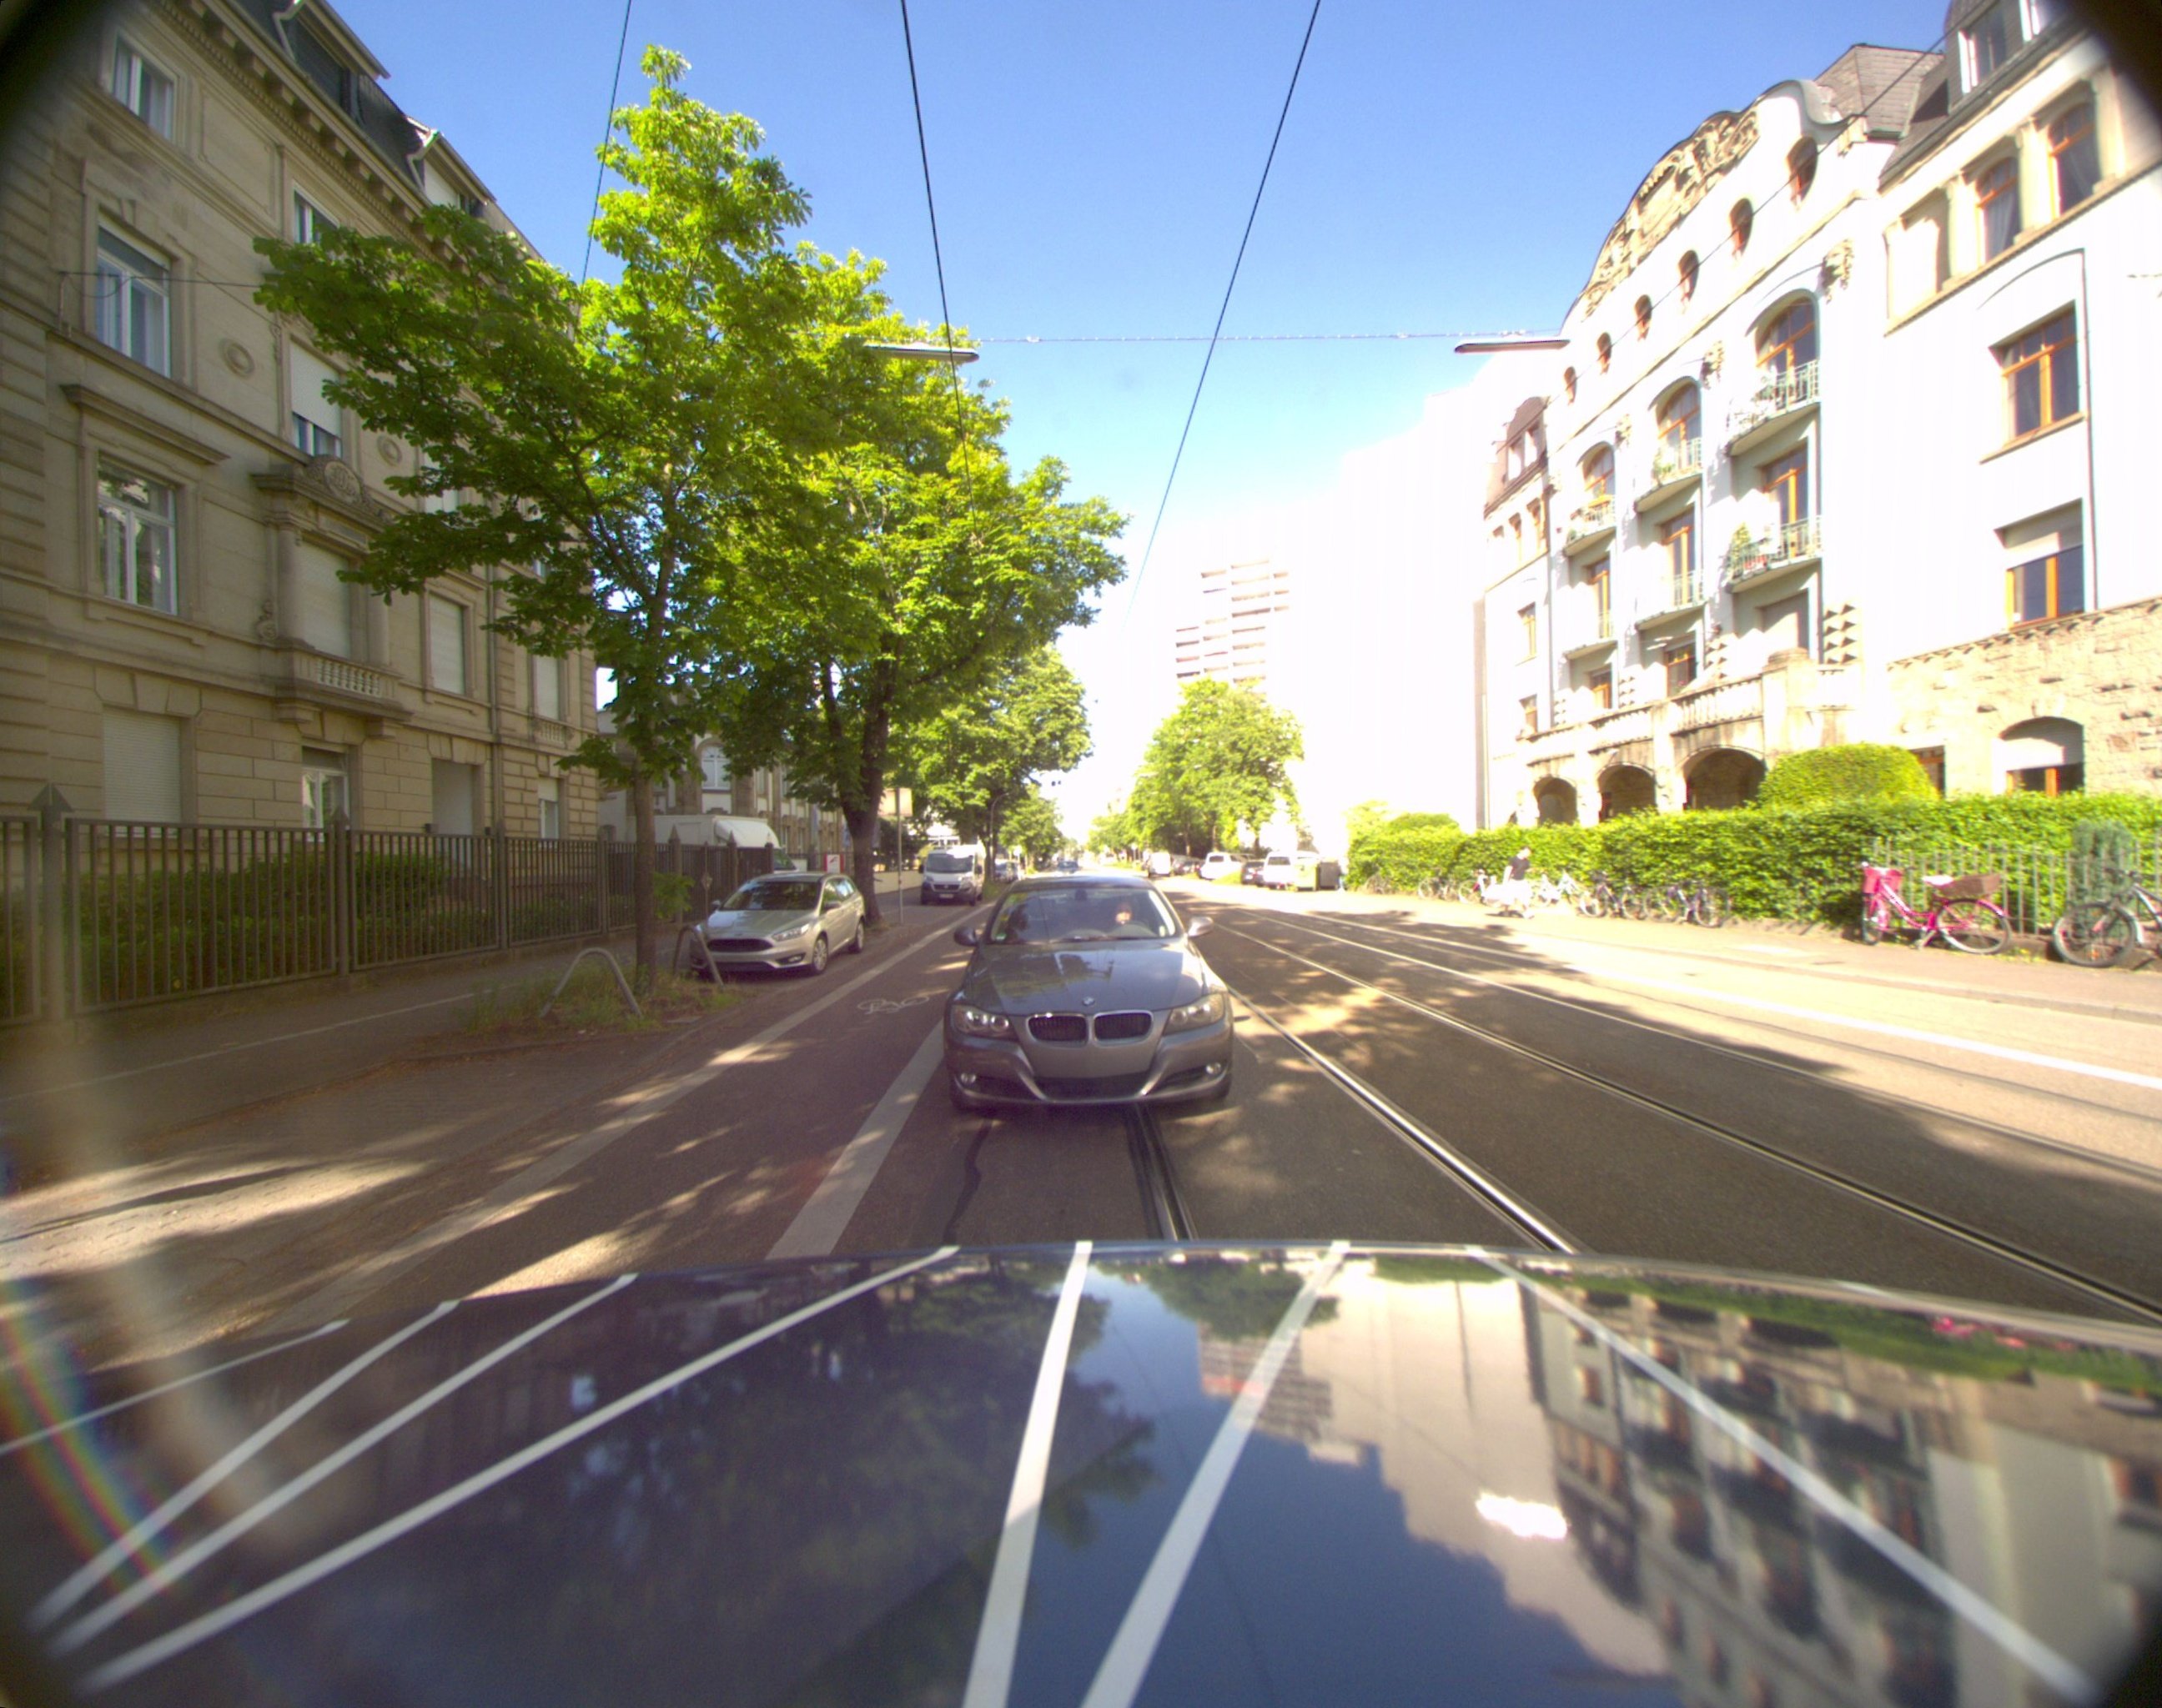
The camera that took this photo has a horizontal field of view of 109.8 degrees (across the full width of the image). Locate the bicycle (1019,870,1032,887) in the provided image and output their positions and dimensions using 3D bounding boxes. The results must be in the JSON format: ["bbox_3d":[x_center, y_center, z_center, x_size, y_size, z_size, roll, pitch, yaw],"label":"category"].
[{"bbox_3d":[-3.360,1.474,46.181,0.535,0.917,2.057,-2,1,1],"label":"bicycle"}]

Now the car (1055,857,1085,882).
[{"bbox_3d":[-0.707,1.016,51.547,1.828,1.559,3.999,-2,1,1],"label":"car"}]

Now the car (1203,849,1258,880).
[{"bbox_3d":[9.897,0.683,50.119,3.450,1.860,1.918,-3,1,-44],"label":"car"}]

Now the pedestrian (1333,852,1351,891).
[{"bbox_3d":[11.008,0.718,32.086,0.475,1.619,0.659,-2,1,1],"label":"pedestrian"}]

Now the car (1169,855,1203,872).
[{"bbox_3d":[9.667,0.853,69.902,2.757,1.417,1.226,-2,1,-16],"label":"car"}]

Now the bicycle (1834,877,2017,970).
[{"bbox_3d":[11.009,0.860,10.002,0.405,1.018,1.816,-2,1,1],"label":"bicycle"}]

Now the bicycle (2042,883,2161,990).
[{"bbox_3d":[11.135,0.857,7.740,0.405,1.018,1.816,-2,1,1],"label":"bicycle"}]

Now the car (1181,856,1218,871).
[{"bbox_3d":[9.763,0.804,62.700,2.757,1.083,1.226,-2,1,-16],"label":"car"}]

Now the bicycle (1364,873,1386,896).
[{"bbox_3d":[10.629,1.100,27.459,0.297,0.757,1.263,-2,1,1],"label":"bicycle"}]

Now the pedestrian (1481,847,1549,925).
[{"bbox_3d":[9.694,0.689,16.997,0.869,1.619,0.870,-6,1,1],"label":"pedestrian"}]

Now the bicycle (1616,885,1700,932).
[{"bbox_3d":[10.914,1.006,14.430,0.405,0.757,1.581,-2,1,1],"label":"bicycle"}]

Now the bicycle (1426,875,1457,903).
[{"bbox_3d":[10.761,1.037,22.706,0.297,0.757,1.263,-2,1,1],"label":"bicycle"}]

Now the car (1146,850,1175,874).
[{"bbox_3d":[6.802,0.646,64.541,1.997,1.893,4.003,-2,1,11],"label":"car"}]

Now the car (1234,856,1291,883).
[{"bbox_3d":[10.262,0.856,43.028,2.757,1.427,1.458,-2,1,-16],"label":"car"}]

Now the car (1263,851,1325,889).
[{"bbox_3d":[10.295,0.793,36.650,3.194,1.763,1.456,1,-2,-45],"label":"car"}]

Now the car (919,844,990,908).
[{"bbox_3d":[-4.981,0.774,30.785,2.132,2.329,5.803,0,1,-3],"label":"car"}]

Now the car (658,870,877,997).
[{"bbox_3d":[-4.708,1.094,12.203,1.877,1.534,4.364,0,1,-3],"label":"car"}]

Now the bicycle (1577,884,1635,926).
[{"bbox_3d":[10.989,1.056,15.935,0.339,0.757,1.263,-2,1,1],"label":"bicycle"}]

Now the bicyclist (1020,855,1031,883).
[{"bbox_3d":[-3.383,0.928,46.141,0.532,1.660,0.878,-2,1,1],"label":"bicyclist"}]

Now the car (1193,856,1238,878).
[{"bbox_3d":[9.470,0.910,53.548,2.757,1.427,1.458,-2,1,-16],"label":"car"}]

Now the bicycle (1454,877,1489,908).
[{"bbox_3d":[10.739,1.058,20.915,0.318,0.757,1.263,-2,1,1],"label":"bicycle"}]

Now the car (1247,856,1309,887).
[{"bbox_3d":[10.265,0.893,39.661,2.757,1.427,1.458,-2,1,-16],"label":"car"}]

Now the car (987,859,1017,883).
[{"bbox_3d":[-5.537,1.188,53.765,1.866,1.541,4.101,-2,1,-3],"label":"car"}]

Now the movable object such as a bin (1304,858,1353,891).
[{"bbox_3d":[11.114,0.902,34.214,1.501,1.309,2.096,-2,1,1],"label":"movable object such as a bin"}]

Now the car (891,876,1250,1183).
[{"bbox_3d":[-0.027,1.001,6.066,1.869,1.426,3.999,-2,1,1],"label":"car"}]

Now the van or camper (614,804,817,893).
[{"bbox_3d":[-12.167,-0.136,25.191,6.721,2.612,2.126,-2,1,24],"label":"van or camper"}]

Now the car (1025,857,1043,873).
[{"bbox_3d":[-5.118,1.205,83.563,1.866,1.646,4.101,-2,1,-3],"label":"car"}]

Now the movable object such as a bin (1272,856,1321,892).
[{"bbox_3d":[9.399,0.848,33.245,1.512,1.424,2.096,-2,1,1],"label":"movable object such as a bin"}]

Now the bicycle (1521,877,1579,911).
[{"bbox_3d":[11.788,1.002,19.107,1.262,0.789,0.297,-2,1,1],"label":"bicycle"}]
